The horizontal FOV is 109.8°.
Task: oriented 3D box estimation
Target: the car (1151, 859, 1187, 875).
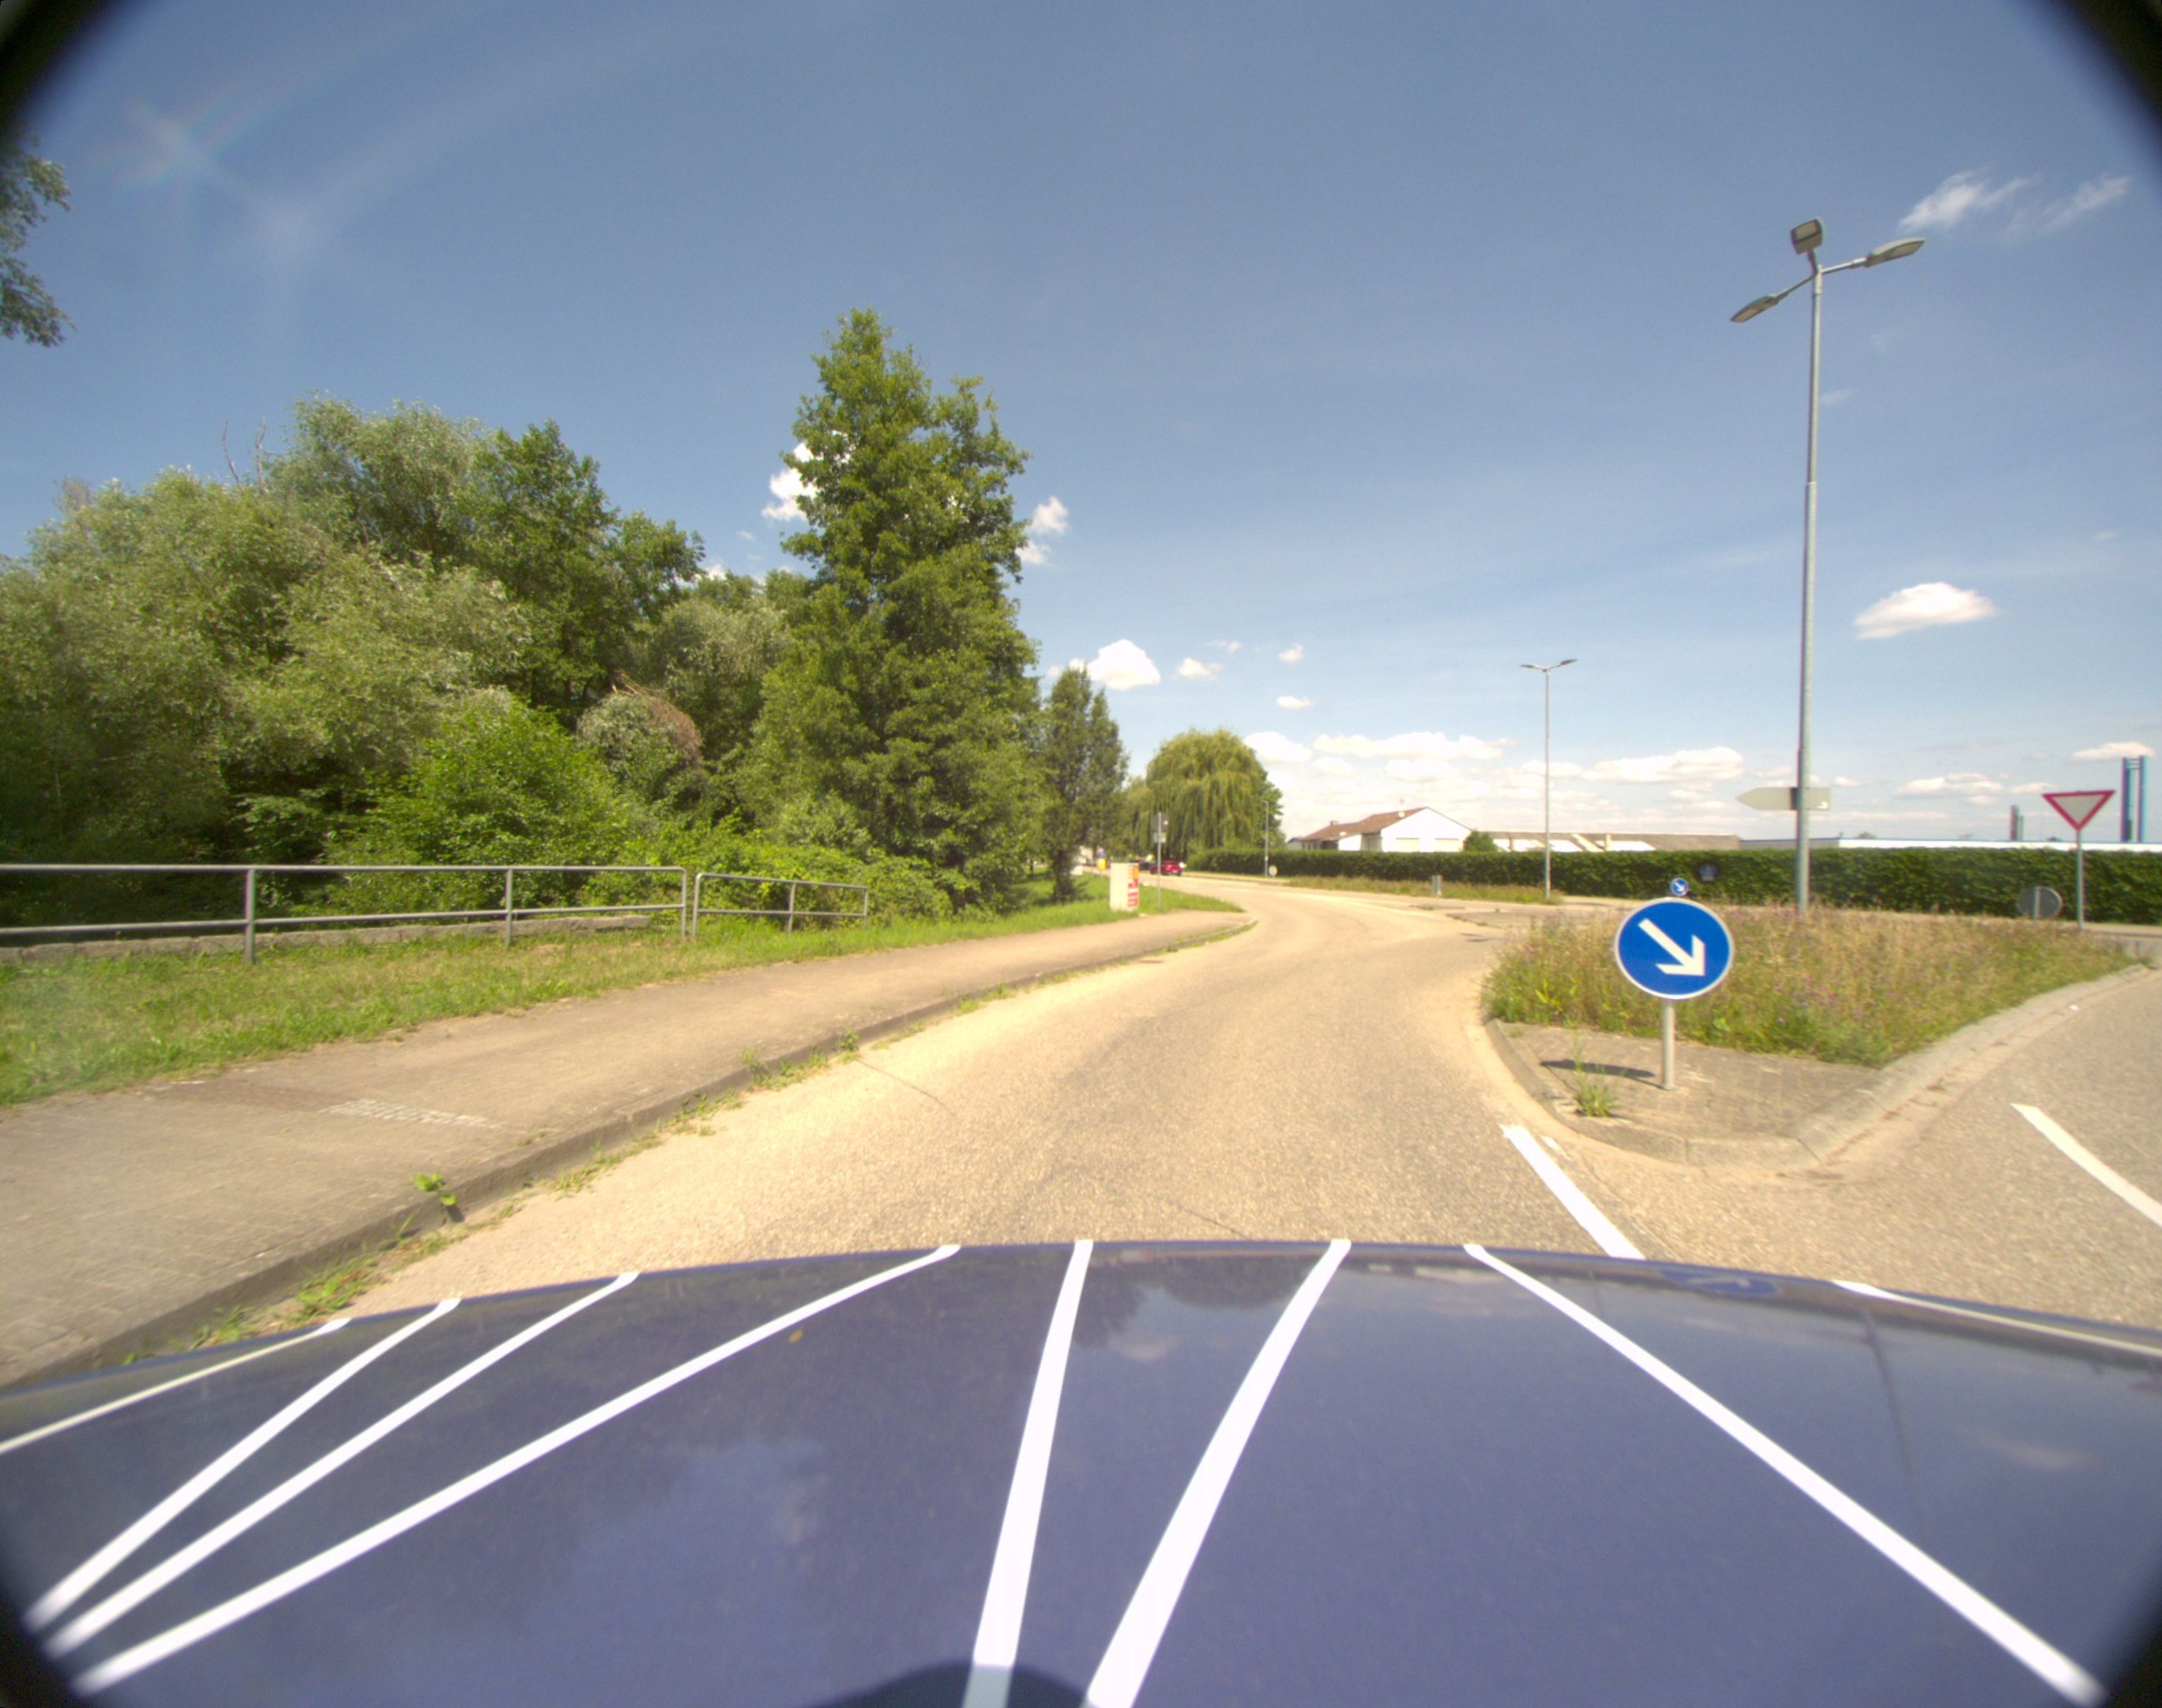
[{"bbox_3d":[8.304,1.217,72.353,1.887,1.455,4.380,2,0,-15],"label":"car"}]
